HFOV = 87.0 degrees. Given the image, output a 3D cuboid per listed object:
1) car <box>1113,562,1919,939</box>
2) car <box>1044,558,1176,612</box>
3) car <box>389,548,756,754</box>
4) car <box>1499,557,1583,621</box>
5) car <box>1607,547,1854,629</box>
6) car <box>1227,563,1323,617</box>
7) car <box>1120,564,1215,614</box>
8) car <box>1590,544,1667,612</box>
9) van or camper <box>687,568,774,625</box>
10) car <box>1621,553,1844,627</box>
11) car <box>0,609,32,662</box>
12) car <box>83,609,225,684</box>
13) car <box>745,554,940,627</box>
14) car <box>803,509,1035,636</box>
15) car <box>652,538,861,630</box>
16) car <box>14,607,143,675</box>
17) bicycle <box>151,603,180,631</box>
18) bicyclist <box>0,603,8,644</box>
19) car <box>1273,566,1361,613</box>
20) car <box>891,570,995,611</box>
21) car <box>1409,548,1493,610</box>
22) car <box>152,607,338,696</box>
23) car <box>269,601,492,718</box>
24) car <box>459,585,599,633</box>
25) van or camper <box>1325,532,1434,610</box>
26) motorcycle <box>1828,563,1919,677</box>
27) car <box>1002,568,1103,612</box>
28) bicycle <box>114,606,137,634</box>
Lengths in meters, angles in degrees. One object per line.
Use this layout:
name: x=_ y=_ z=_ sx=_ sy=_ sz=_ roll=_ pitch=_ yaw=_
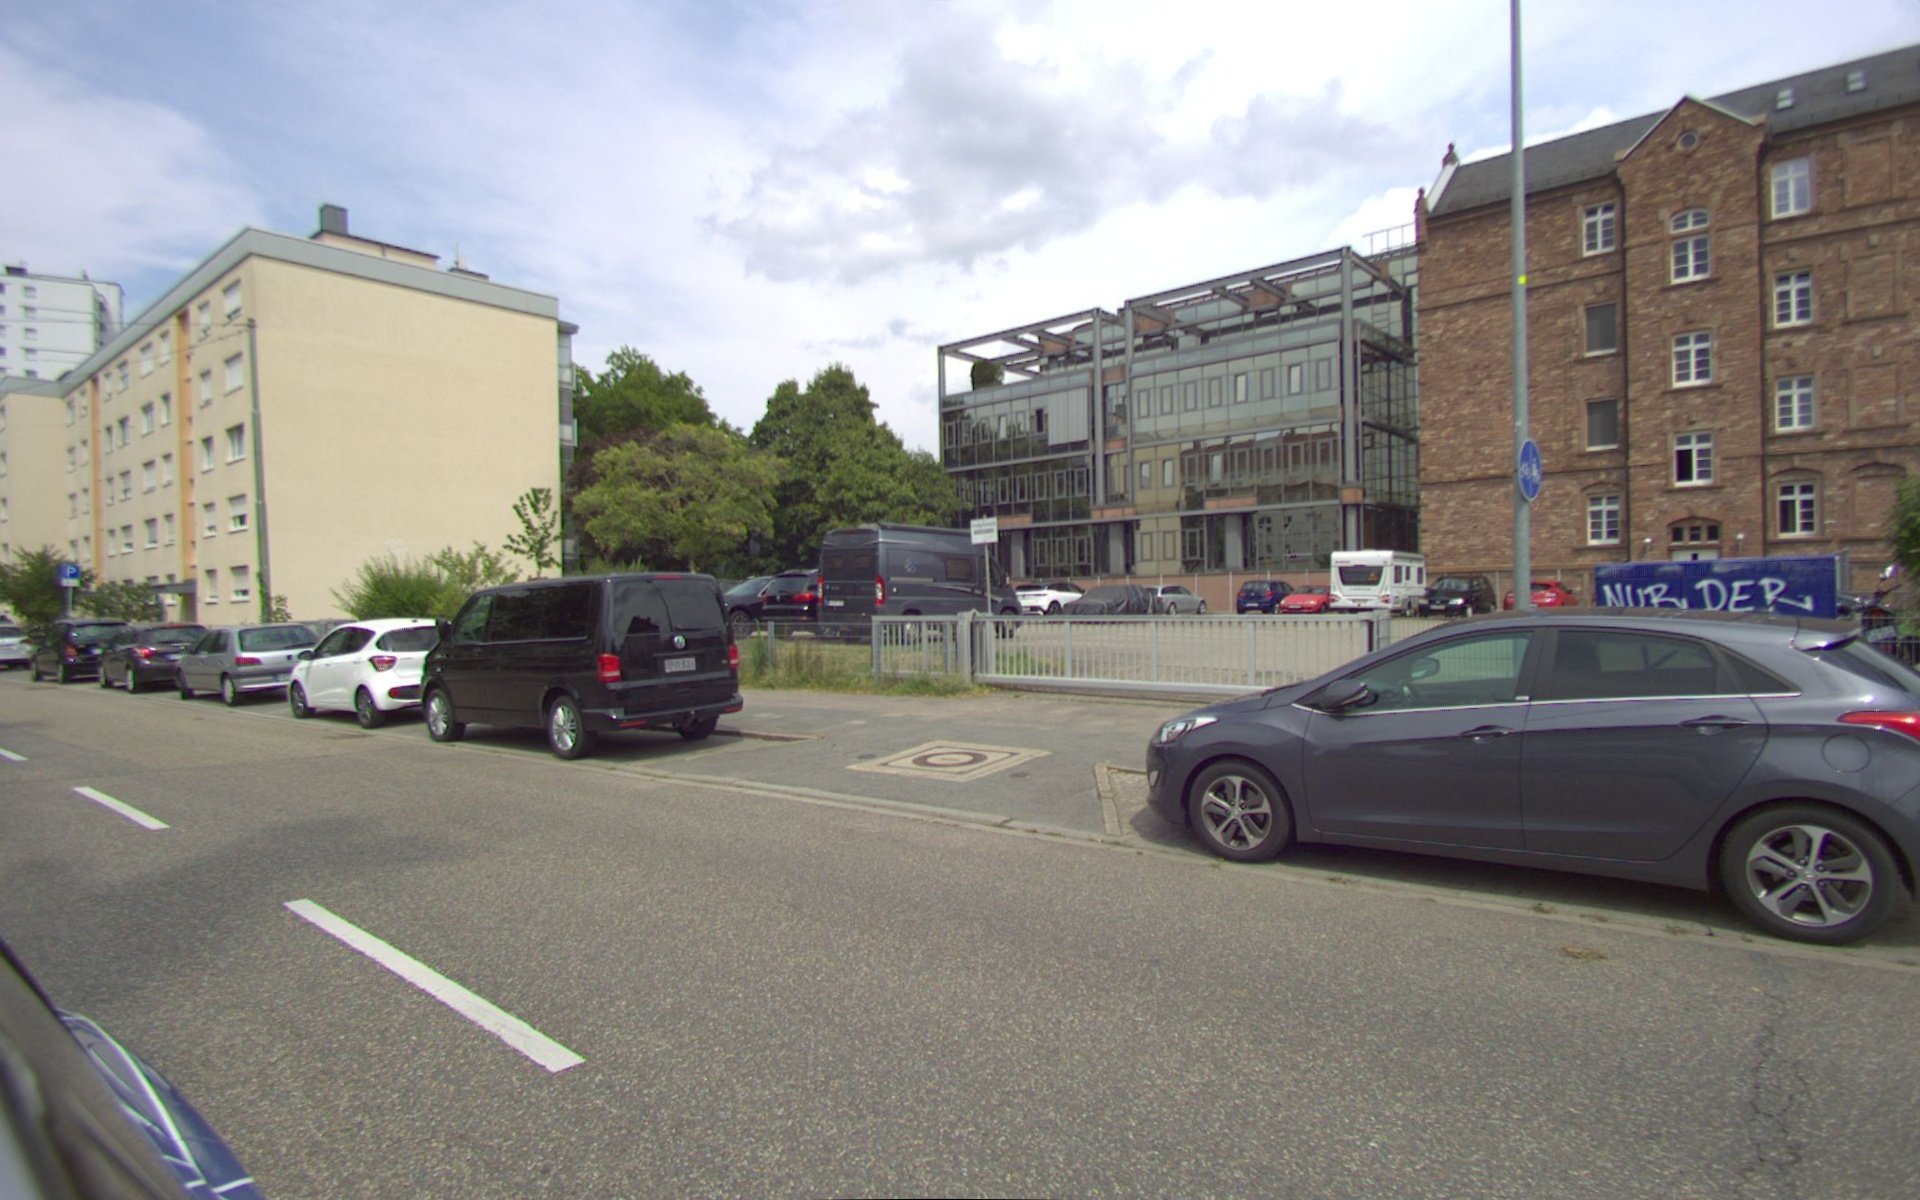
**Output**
car: x=3.228 y=0.612 z=5.781 sx=4.291 sy=1.484 sz=1.805 roll=-1 pitch=3 yaw=38
car: x=5.172 y=-0.467 z=34.507 sx=2.329 sy=1.676 sz=4.643 roll=-1 pitch=0 yaw=41
car: x=-4.834 y=0.501 z=12.266 sx=4.838 sy=2.019 sz=1.930 roll=-1 pitch=2 yaw=39
car: x=20.688 y=-0.367 z=35.964 sx=1.803 sy=2.152 sz=4.316 roll=-1 pitch=0 yaw=41
car: x=17.034 y=-0.268 z=22.559 sx=4.231 sy=1.668 sz=1.945 roll=0 pitch=1 yaw=39
car: x=13.284 y=-0.401 z=42.570 sx=2.204 sy=2.152 sz=4.313 roll=-1 pitch=0 yaw=43
car: x=9.352 y=-0.473 z=45.446 sx=2.204 sy=2.152 sz=4.313 roll=-1 pitch=0 yaw=43
car: x=22.894 y=-0.703 z=34.613 sx=1.725 sy=2.152 sz=4.318 roll=-1 pitch=0 yaw=40
van or camper: x=-12.358 y=-0.146 z=54.323 sx=4.898 sy=2.894 sz=1.973 roll=-1 pitch=-3 yaw=40
car: x=18.915 y=-0.244 z=24.939 sx=4.231 sy=1.668 sz=1.945 roll=0 pitch=1 yaw=39
car: x=-31.373 y=1.152 z=32.354 sx=4.545 sy=1.575 sz=1.770 roll=-1 pitch=2 yaw=39
car: x=-18.148 y=0.976 z=22.737 sx=4.044 sy=1.481 sz=1.670 roll=0 pitch=1 yaw=40
car: x=-2.791 y=-0.251 z=25.034 sx=2.000 sy=1.630 sz=4.648 roll=-1 pitch=0 yaw=41
car: x=-0.810 y=-0.632 z=23.355 sx=2.353 sy=2.571 sz=5.256 roll=0 pitch=1 yaw=41
car: x=-5.221 y=-0.392 z=26.548 sx=2.228 sy=2.166 sz=5.031 roll=-1 pitch=0 yaw=42
car: x=-22.682 y=0.995 z=25.994 sx=3.991 sy=1.586 sz=1.608 roll=-1 pitch=1 yaw=36
bicycle: x=-35.797 y=0.779 z=45.574 sx=2.015 sy=1.216 sz=0.527 roll=-1 pitch=2 yaw=39
bicyclist: x=-38.194 y=0.944 z=40.045 sx=0.764 sy=1.620 sz=0.609 roll=0 pitch=2 yaw=37
car: x=14.393 y=-0.398 z=40.700 sx=1.727 sy=1.797 sz=4.313 roll=-1 pitch=0 yaw=43
car: x=-0.613 y=-0.398 z=39.228 sx=1.968 sy=1.494 sz=3.948 roll=0 pitch=1 yaw=39
car: x=18.088 y=-0.716 z=37.205 sx=1.725 sy=2.152 sz=4.316 roll=-1 pitch=0 yaw=41
car: x=-13.575 y=0.910 z=19.136 sx=4.257 sy=1.468 sz=1.671 roll=-1 pitch=1 yaw=38
car: x=-9.031 y=0.853 z=15.683 sx=3.759 sy=1.541 sz=1.639 roll=-1 pitch=1 yaw=37
car: x=-14.650 y=0.267 z=34.509 sx=3.941 sy=1.494 sz=2.001 roll=-2 pitch=2 yaw=-45
van or camper: x=15.999 y=-1.036 z=38.483 sx=2.578 sy=2.723 sz=5.000 roll=-1 pitch=0 yaw=38
motorcycle: x=10.190 y=0.209 z=11.242 sx=0.725 sy=1.151 sz=2.067 roll=0 pitch=-1 yaw=44
car: x=3.375 y=-0.386 z=36.303 sx=1.615 sy=1.494 sz=4.114 roll=0 pitch=1 yaw=39
bicycle: x=-37.074 y=0.870 z=44.955 sx=2.018 sy=1.216 sz=0.526 roll=0 pitch=2 yaw=44
